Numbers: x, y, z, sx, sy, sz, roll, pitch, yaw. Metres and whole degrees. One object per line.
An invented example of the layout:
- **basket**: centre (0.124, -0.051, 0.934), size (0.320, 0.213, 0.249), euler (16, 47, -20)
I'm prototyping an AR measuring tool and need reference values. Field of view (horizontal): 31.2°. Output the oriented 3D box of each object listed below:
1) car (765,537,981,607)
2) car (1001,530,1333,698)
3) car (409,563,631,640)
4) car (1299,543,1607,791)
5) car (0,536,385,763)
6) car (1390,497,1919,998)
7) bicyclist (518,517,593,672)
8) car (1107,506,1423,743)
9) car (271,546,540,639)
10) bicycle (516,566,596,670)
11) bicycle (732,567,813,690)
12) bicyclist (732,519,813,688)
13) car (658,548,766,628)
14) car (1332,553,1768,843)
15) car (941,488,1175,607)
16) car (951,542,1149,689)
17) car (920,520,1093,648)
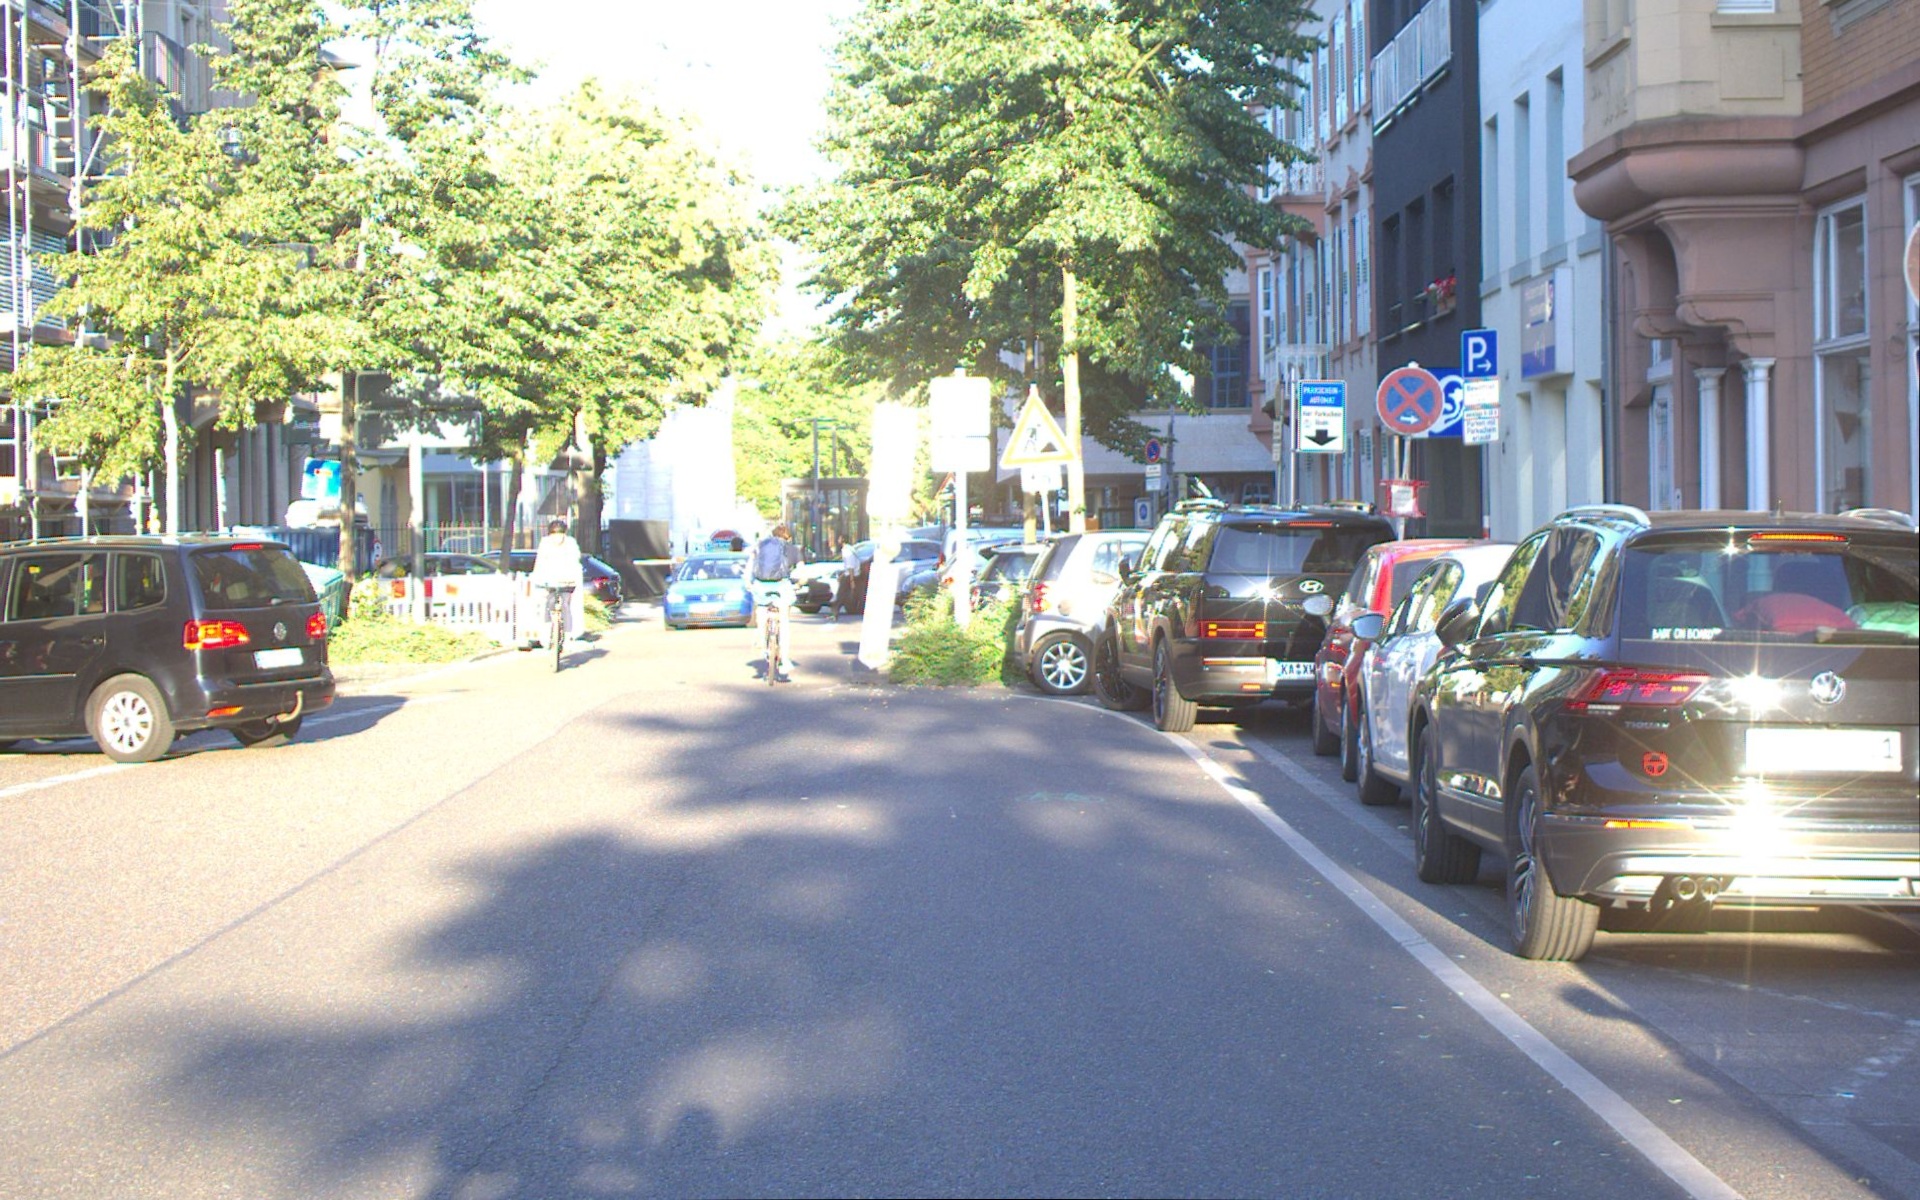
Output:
- **car**: centre (-1.875, -0.608, 74.975), size (4.445, 1.475, 1.890), euler (0, 1, -38)
- **car**: centre (1.938, 0.125, 32.688), size (2.968, 1.531, 1.433), euler (1, 0, -4)
- **car**: centre (-8.685, 0.019, 68.032), size (4.103, 1.460, 1.889), euler (1, 1, 1)
- **car**: centre (3.130, 0.387, 22.344), size (1.587, 1.478, 3.266), euler (1, 1, 1)
- **car**: centre (-6.815, 0.382, 25.918), size (4.500, 1.596, 1.998), euler (-1, 0, 23)
- **car**: centre (2.875, 0.473, 13.589), size (1.812, 1.662, 4.206), euler (1, 1, 0)
- **bicyclist**: centre (-4.857, -0.066, 41.339), size (0.780, 1.823, 1.007), euler (-2, 1, -3)
- **car**: centre (2.291, 0.154, 26.966), size (1.824, 1.689, 4.369), euler (1, 1, -3)
- **car**: centre (-9.104, -0.138, 56.676), size (4.103, 1.460, 1.889), euler (1, 1, 1)
- **bicycle**: centre (-4.843, 0.198, 41.331), size (0.780, 1.200, 2.021), euler (-2, 1, -3)
- **bicycle**: centre (-1.913, 0.275, 35.221), size (0.780, 1.200, 2.021), euler (-2, 1, -3)
- **bicyclist**: centre (-1.927, 0.029, 35.363), size (0.780, 1.690, 1.007), euler (-2, 1, -3)
- **car**: centre (-4.667, -0.249, 65.163), size (1.838, 1.436, 4.332), euler (1, 1, -2)
- **car**: centre (3.036, 0.449, 18.397), size (1.666, 1.373, 3.802), euler (1, 1, 0)
- **car**: centre (1.741, -0.926, 60.046), size (3.987, 2.007, 2.000), euler (-1, 1, 4)
- **car**: centre (1.024, 0.150, 41.498), size (1.993, 1.662, 4.510), euler (1, 1, -3)
- **car**: centre (0.686, -0.268, 54.851), size (2.265, 1.760, 4.510), euler (5, 0, -4)
